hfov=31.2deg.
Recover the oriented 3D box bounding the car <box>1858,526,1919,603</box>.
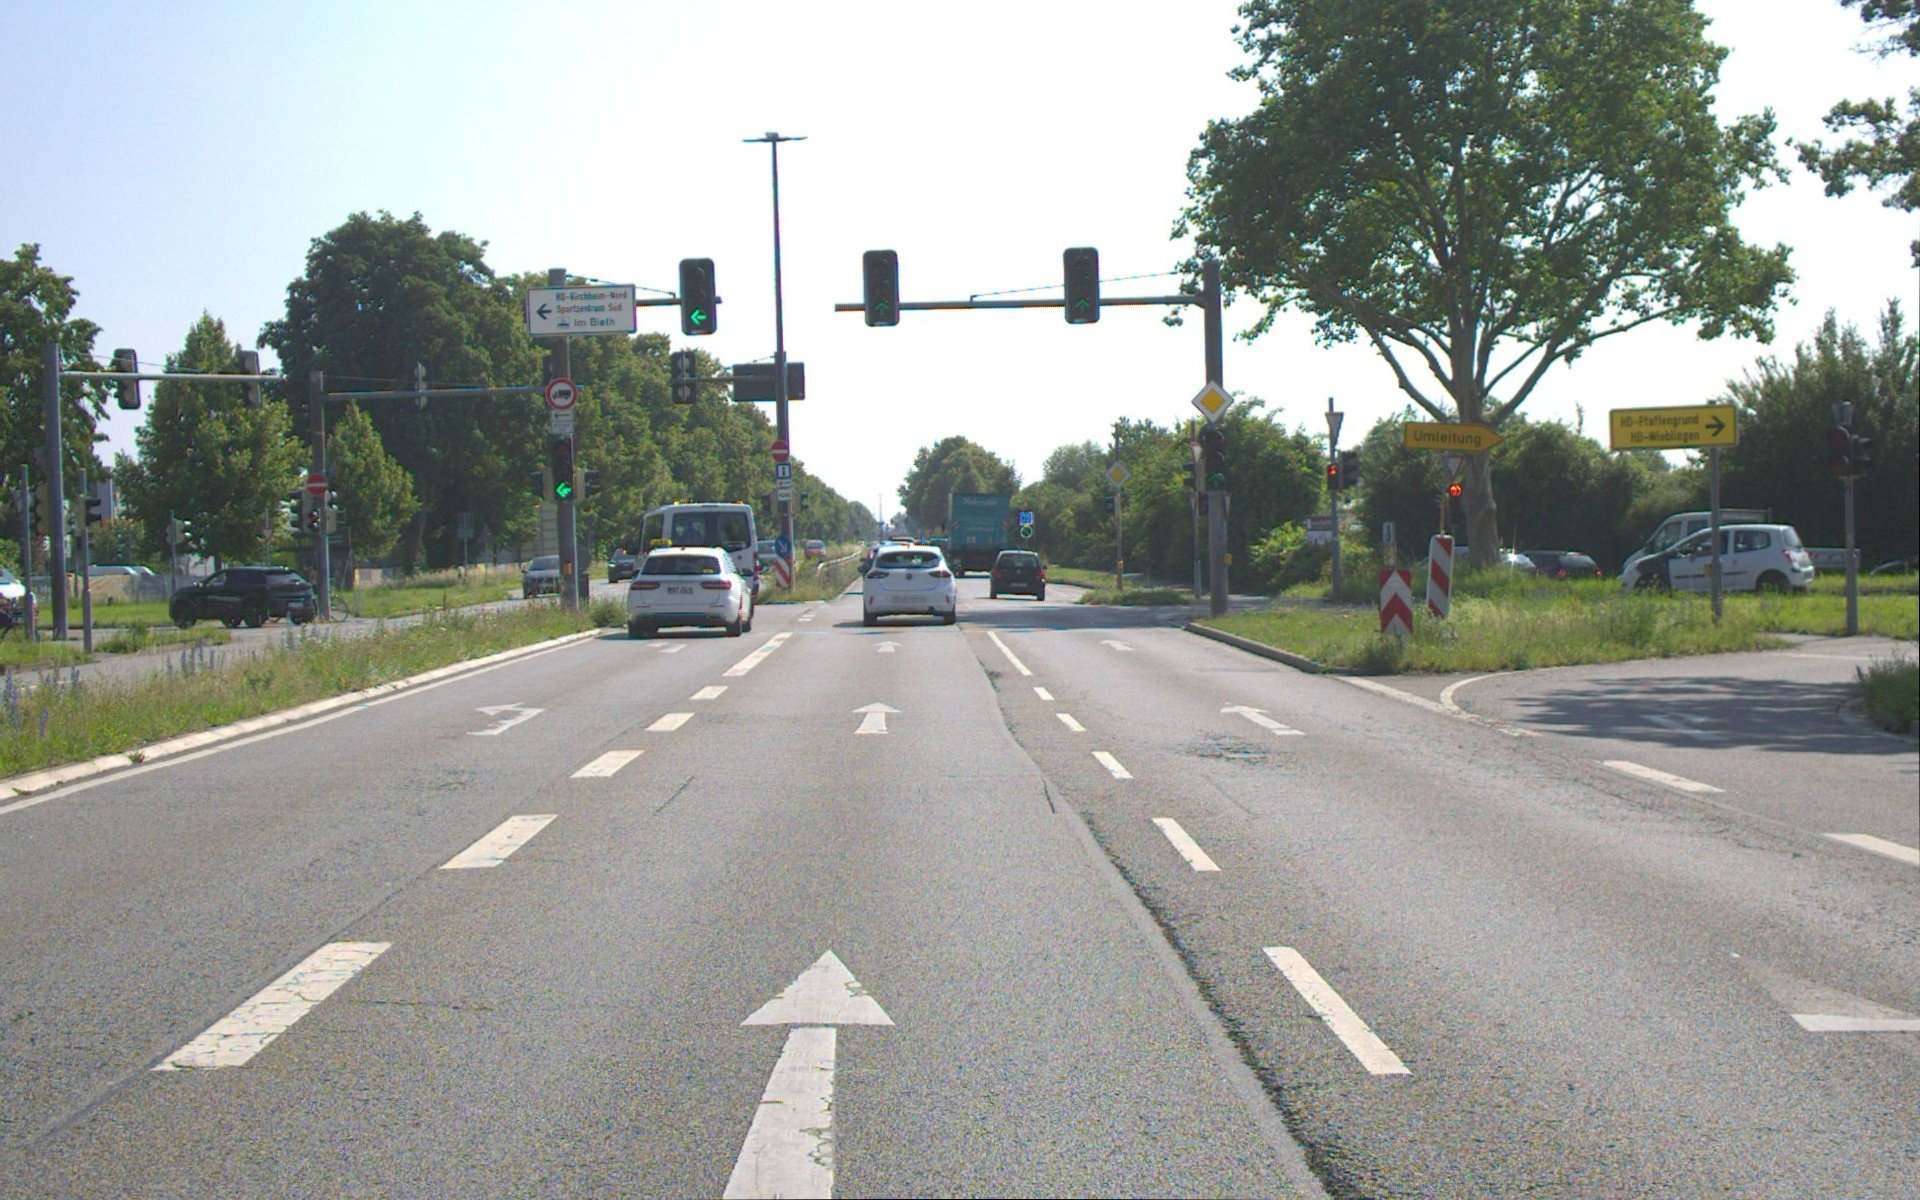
[{"bbox_3d":[21.718,-0.746,73.758,1.881,1.629,4.467,1,0,-39],"label":"car"}]

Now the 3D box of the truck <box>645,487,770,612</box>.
[{"bbox_3d":[-5.182,-1.047,70.132,2.373,2.380,6.042,-2,1,-5],"label":"truck"}]

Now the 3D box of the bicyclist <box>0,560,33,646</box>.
[{"bbox_3d":[-16.982,0.054,60.922,0.847,1.512,0.747,0,1,5],"label":"bicyclist"}]

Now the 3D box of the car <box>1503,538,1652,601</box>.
[{"bbox_3d":[15.648,-0.772,87.270,1.616,1.542,3.825,1,0,-31],"label":"car"}]

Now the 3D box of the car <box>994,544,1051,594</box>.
[{"bbox_3d":[1.811,-0.906,100.793,1.572,1.410,3.277,0,0,0],"label":"car"}]

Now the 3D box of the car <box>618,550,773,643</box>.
[{"bbox_3d":[-4.381,-0.094,57.647,1.813,1.459,4.970,-1,1,4],"label":"car"}]

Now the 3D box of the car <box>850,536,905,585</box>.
[{"bbox_3d":[-2.477,-1.201,103.940,1.572,1.409,3.278,-1,1,-1],"label":"car"}]

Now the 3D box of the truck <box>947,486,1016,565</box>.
[{"bbox_3d":[0.941,-3.390,156.634,2.891,3.417,9.170,-1,1,-1],"label":"truck"}]

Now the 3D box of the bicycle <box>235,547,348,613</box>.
[{"bbox_3d":[-17.775,-0.532,91.353,2.796,1.664,1.134,-1,1,27],"label":"bicycle"}]

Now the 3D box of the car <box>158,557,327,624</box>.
[{"bbox_3d":[-18.035,-0.256,86.394,3.995,1.643,1.910,0,1,34],"label":"car"}]

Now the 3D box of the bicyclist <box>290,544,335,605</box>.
[{"bbox_3d":[-17.141,-0.685,91.021,0.863,1.613,0.757,0,1,27],"label":"bicyclist"}]

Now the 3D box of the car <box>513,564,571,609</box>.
[{"bbox_3d":[-14.500,-0.492,119.344,1.485,1.409,3.762,-4,1,-1],"label":"car"}]

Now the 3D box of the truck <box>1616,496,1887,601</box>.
[{"bbox_3d":[18.889,-1.191,82.343,2.338,2.378,6.474,1,-1,-33],"label":"truck"}]

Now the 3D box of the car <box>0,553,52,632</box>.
[{"bbox_3d":[-25.521,-0.161,87.588,4.649,1.943,1.996,-1,1,35],"label":"car"}]

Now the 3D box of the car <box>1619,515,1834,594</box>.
[{"bbox_3d":[14.796,-0.881,66.386,3.748,1.464,1.783,0,1,25],"label":"car"}]

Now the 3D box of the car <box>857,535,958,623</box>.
[{"bbox_3d":[-0.951,-0.420,64.056,1.798,1.547,4.000,0,1,0],"label":"car"}]
